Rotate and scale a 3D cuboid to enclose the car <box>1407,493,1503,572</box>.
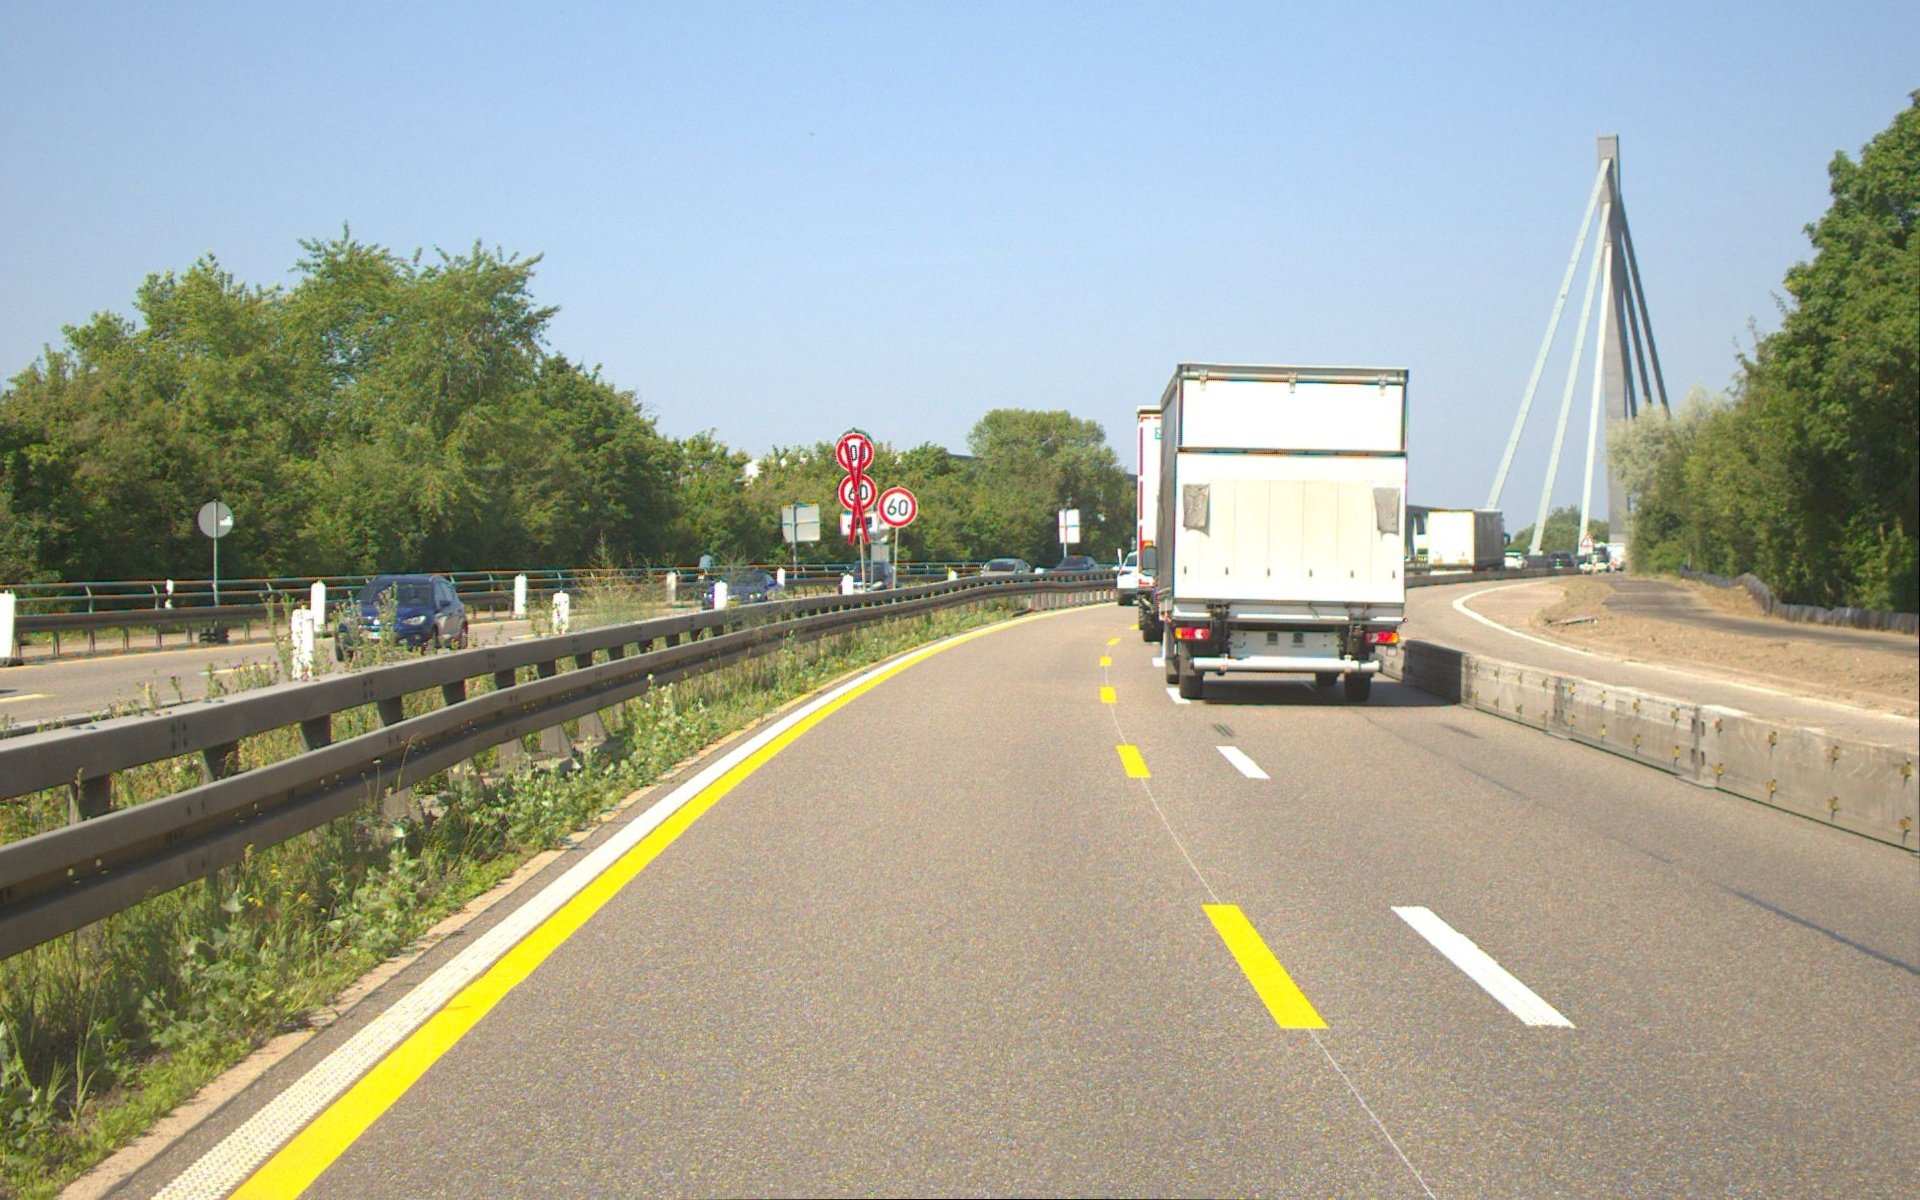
[{"bbox_3d":[28.476,-3.944,197.290,4.210,4.237,10.655,-2,1,14],"label":"car"}]

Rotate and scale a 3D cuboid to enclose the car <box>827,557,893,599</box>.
[{"bbox_3d":[-3.867,-0.859,133.585,1.994,1.546,3.999,-1,1,7],"label":"car"}]

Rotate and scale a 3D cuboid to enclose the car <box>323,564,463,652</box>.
[{"bbox_3d":[-10.205,0.123,62.126,1.738,1.493,4.000,-1,1,2],"label":"car"}]

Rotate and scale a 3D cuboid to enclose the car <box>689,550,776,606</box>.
[{"bbox_3d":[-6.619,-0.658,100.463,1.994,1.546,4.000,-1,1,4],"label":"car"}]

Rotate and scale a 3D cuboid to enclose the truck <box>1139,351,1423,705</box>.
[{"bbox_3d":[3.330,-0.767,37.314,2.634,3.416,7.233,1,1,2],"label":"truck"}]

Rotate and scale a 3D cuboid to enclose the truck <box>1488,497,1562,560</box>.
[{"bbox_3d":[40.521,-5.166,246.458,4.223,4.252,10.235,-2,1,14],"label":"truck"}]

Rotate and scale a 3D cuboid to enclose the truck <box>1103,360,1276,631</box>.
[{"bbox_3d":[3.964,-1.800,60.681,2.634,4.453,7.233,1,1,1],"label":"truck"}]

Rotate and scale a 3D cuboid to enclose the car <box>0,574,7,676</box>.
[{"bbox_3d":[-14.324,0.398,45.523,1.885,1.415,4.859,-1,1,2],"label":"car"}]

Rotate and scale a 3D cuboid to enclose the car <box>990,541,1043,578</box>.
[{"bbox_3d":[2.449,-1.760,147.863,1.994,1.546,3.999,-1,1,5],"label":"car"}]
